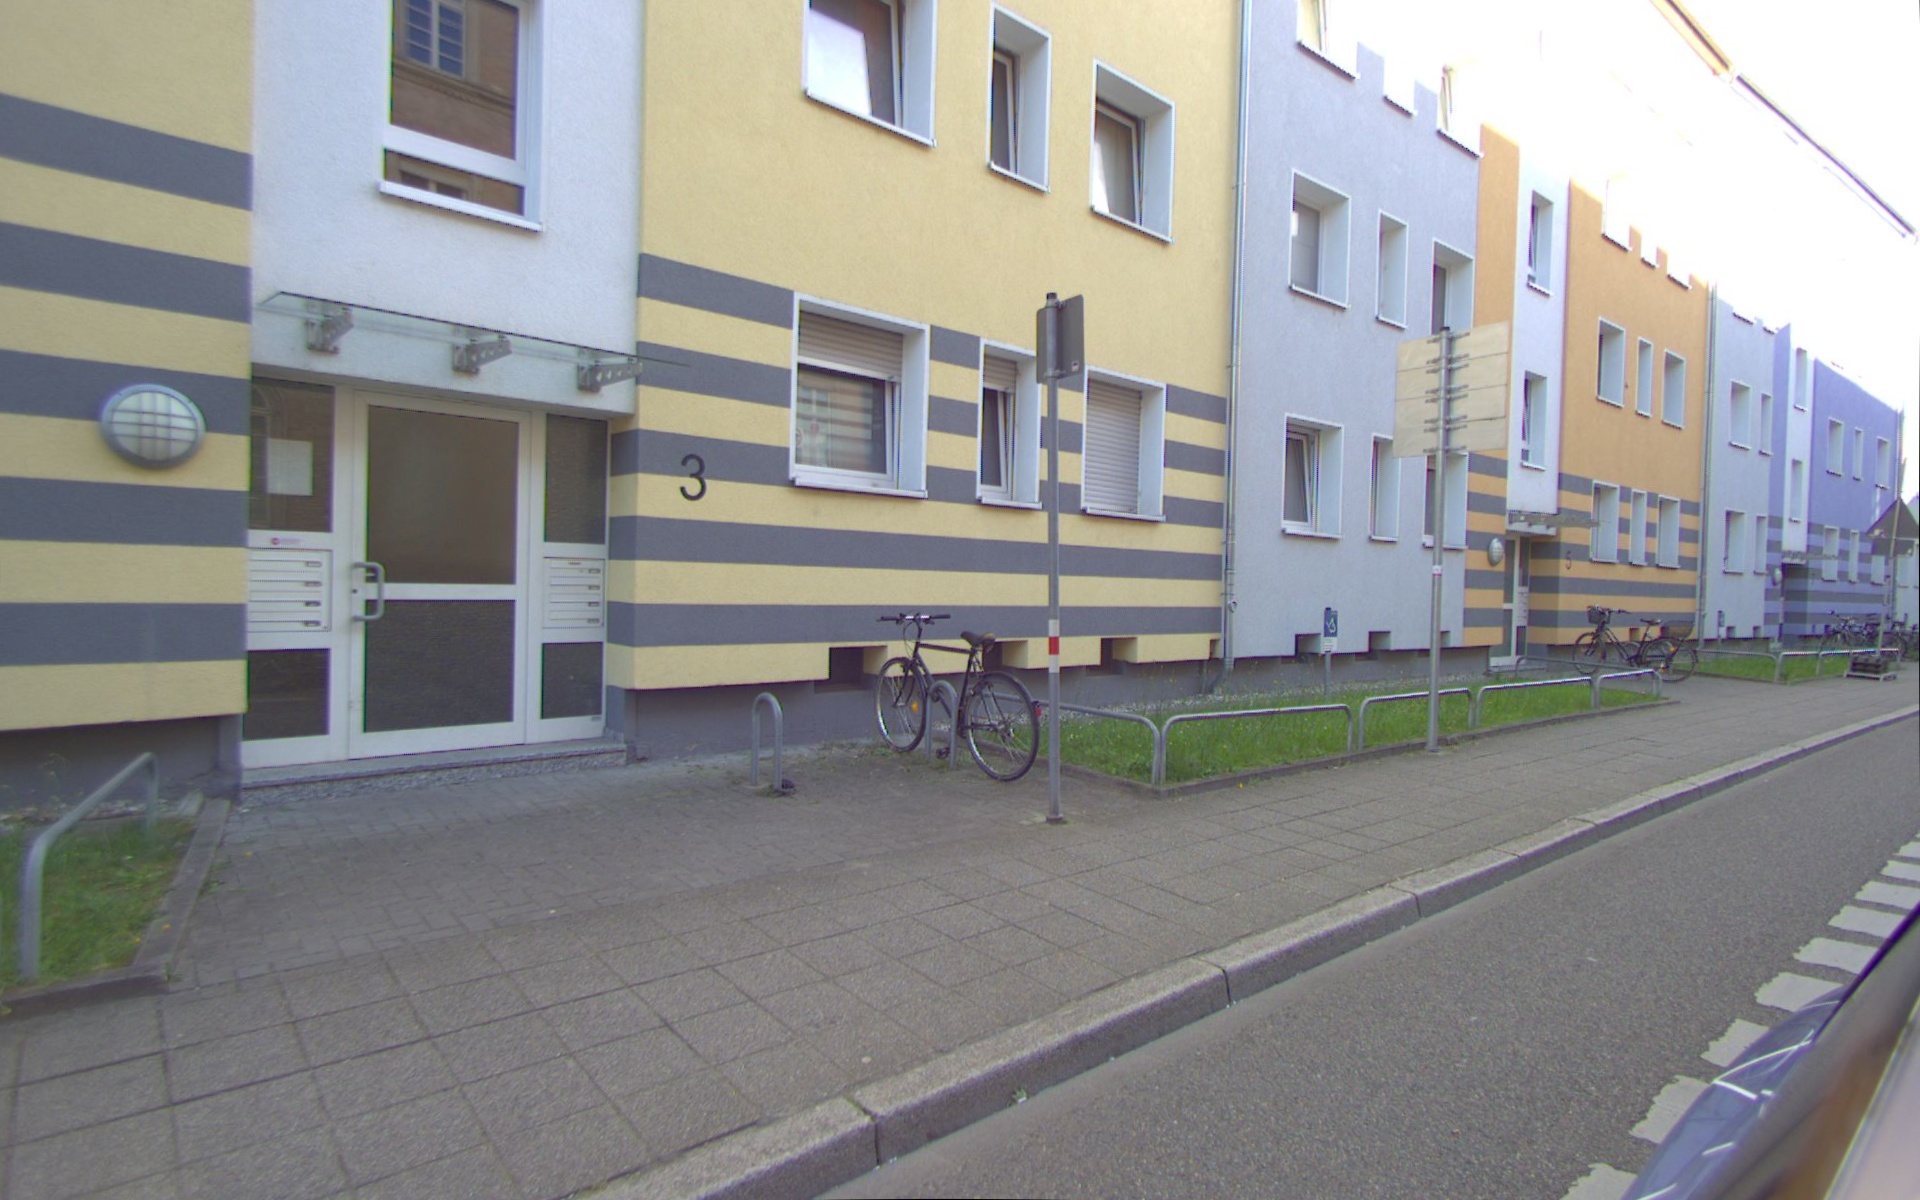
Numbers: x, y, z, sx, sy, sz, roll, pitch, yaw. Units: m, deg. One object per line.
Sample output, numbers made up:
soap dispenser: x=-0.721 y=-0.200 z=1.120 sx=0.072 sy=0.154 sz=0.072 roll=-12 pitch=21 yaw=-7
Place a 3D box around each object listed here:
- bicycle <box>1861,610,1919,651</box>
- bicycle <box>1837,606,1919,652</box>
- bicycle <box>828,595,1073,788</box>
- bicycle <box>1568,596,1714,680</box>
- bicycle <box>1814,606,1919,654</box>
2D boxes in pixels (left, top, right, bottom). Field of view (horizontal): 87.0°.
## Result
bicycle: x=24.061 y=0.784 z=25.592 sx=0.572 sy=0.950 sz=1.779 roll=1 pitch=3 yaw=-33
bicycle: x=23.359 y=0.728 z=25.485 sx=0.572 sy=1.007 sz=1.779 roll=1 pitch=3 yaw=-33
bicycle: x=-0.116 y=0.550 z=6.935 sx=1.773 sy=1.061 sz=0.574 roll=5 pitch=4 yaw=45
bicycle: x=10.696 y=0.561 z=15.957 sx=0.574 sy=1.138 sz=1.775 roll=0 pitch=4 yaw=-42
bicycle: x=22.195 y=0.725 z=24.815 sx=0.572 sy=1.007 sz=1.779 roll=1 pitch=3 yaw=-33
